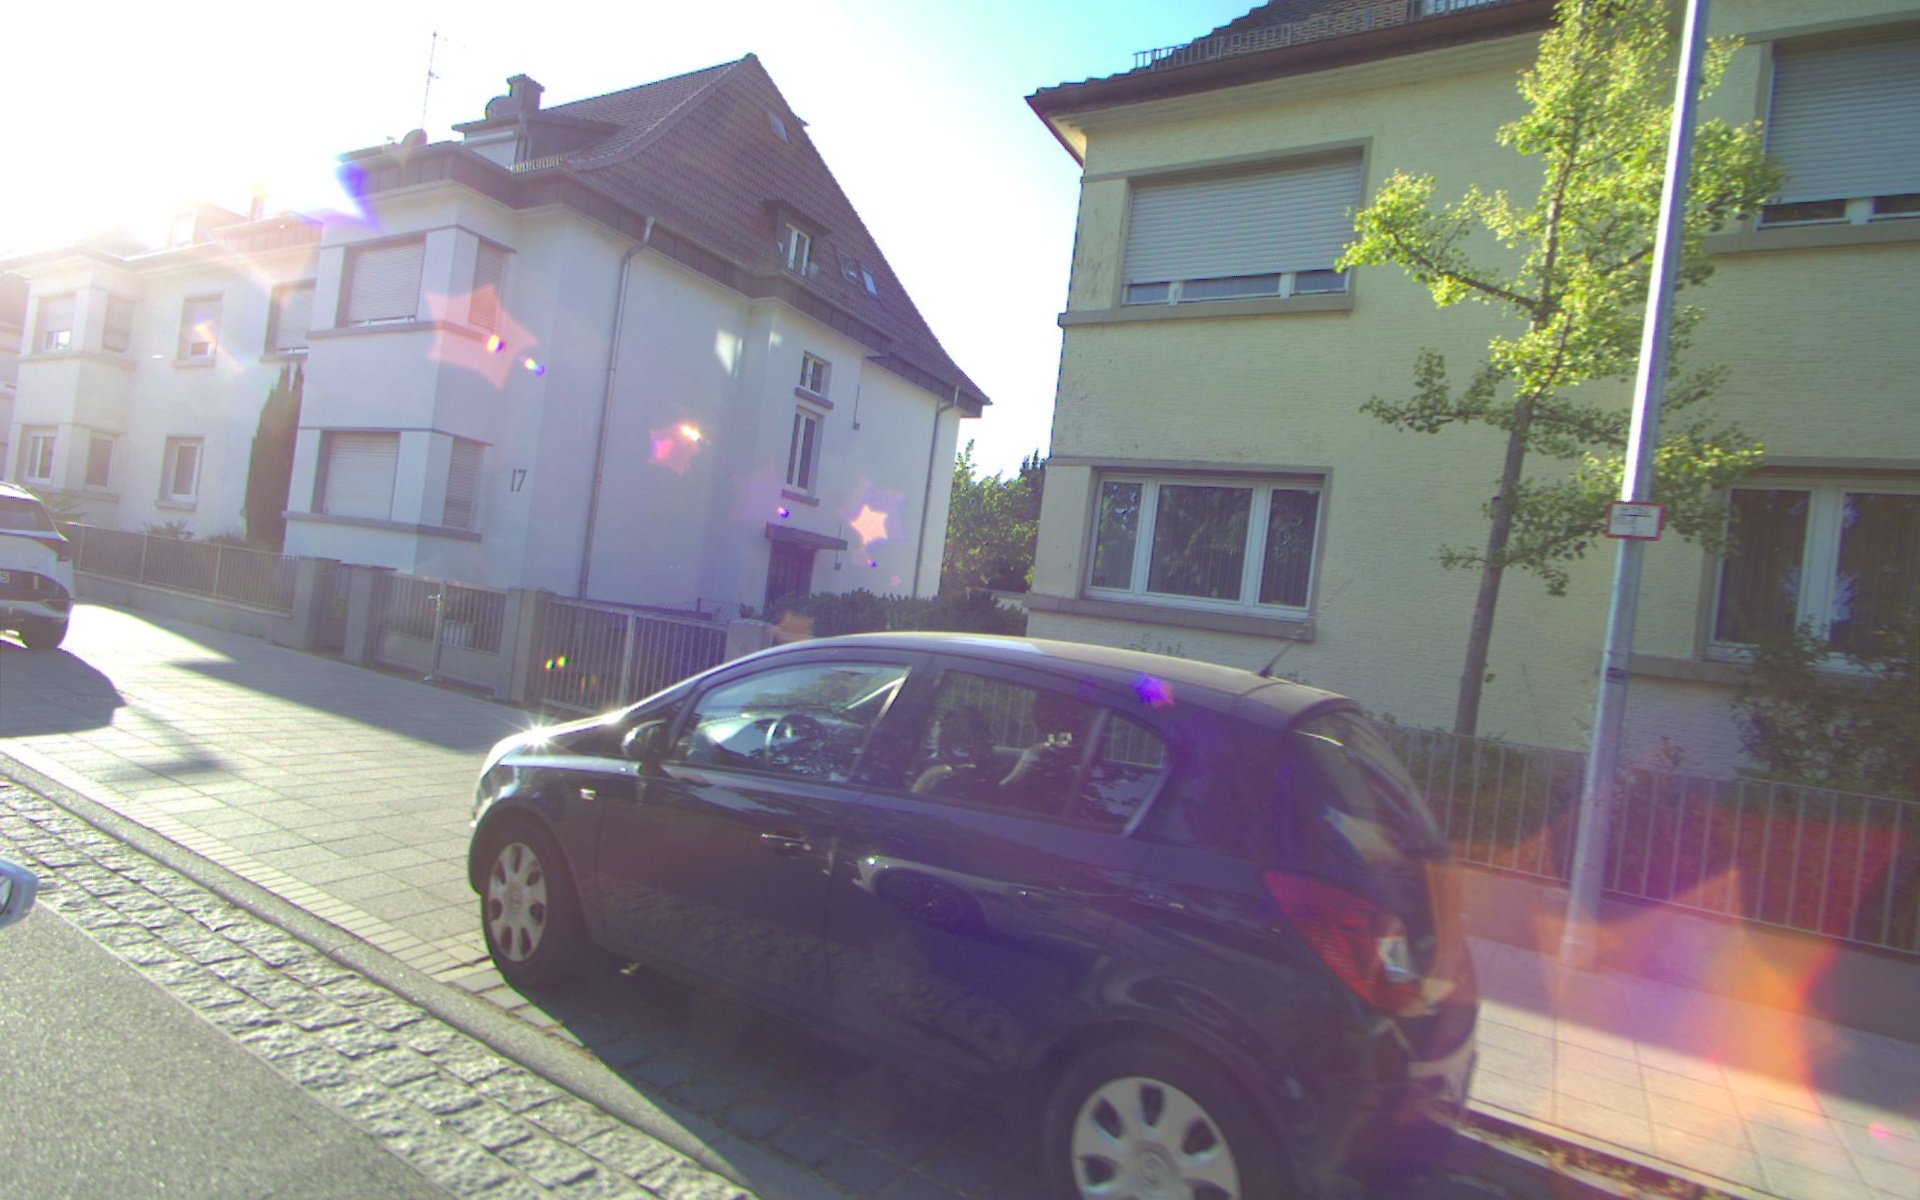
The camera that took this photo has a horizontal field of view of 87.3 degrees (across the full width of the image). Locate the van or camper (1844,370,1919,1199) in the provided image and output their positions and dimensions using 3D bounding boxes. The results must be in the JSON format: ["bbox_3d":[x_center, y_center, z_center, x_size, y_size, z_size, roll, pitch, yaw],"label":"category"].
[{"bbox_3d":[4.673,0.822,0.585,5.842,2.808,1.948,5,-3,32],"label":"van or camper"}]

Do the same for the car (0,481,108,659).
[{"bbox_3d":[-10.875,-0.499,10.360,4.061,1.655,1.840,7,-1,30],"label":"car"}]

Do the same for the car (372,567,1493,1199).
[{"bbox_3d":[-0.309,0.771,3.799,3.903,1.429,1.622,6,1,32],"label":"car"}]
